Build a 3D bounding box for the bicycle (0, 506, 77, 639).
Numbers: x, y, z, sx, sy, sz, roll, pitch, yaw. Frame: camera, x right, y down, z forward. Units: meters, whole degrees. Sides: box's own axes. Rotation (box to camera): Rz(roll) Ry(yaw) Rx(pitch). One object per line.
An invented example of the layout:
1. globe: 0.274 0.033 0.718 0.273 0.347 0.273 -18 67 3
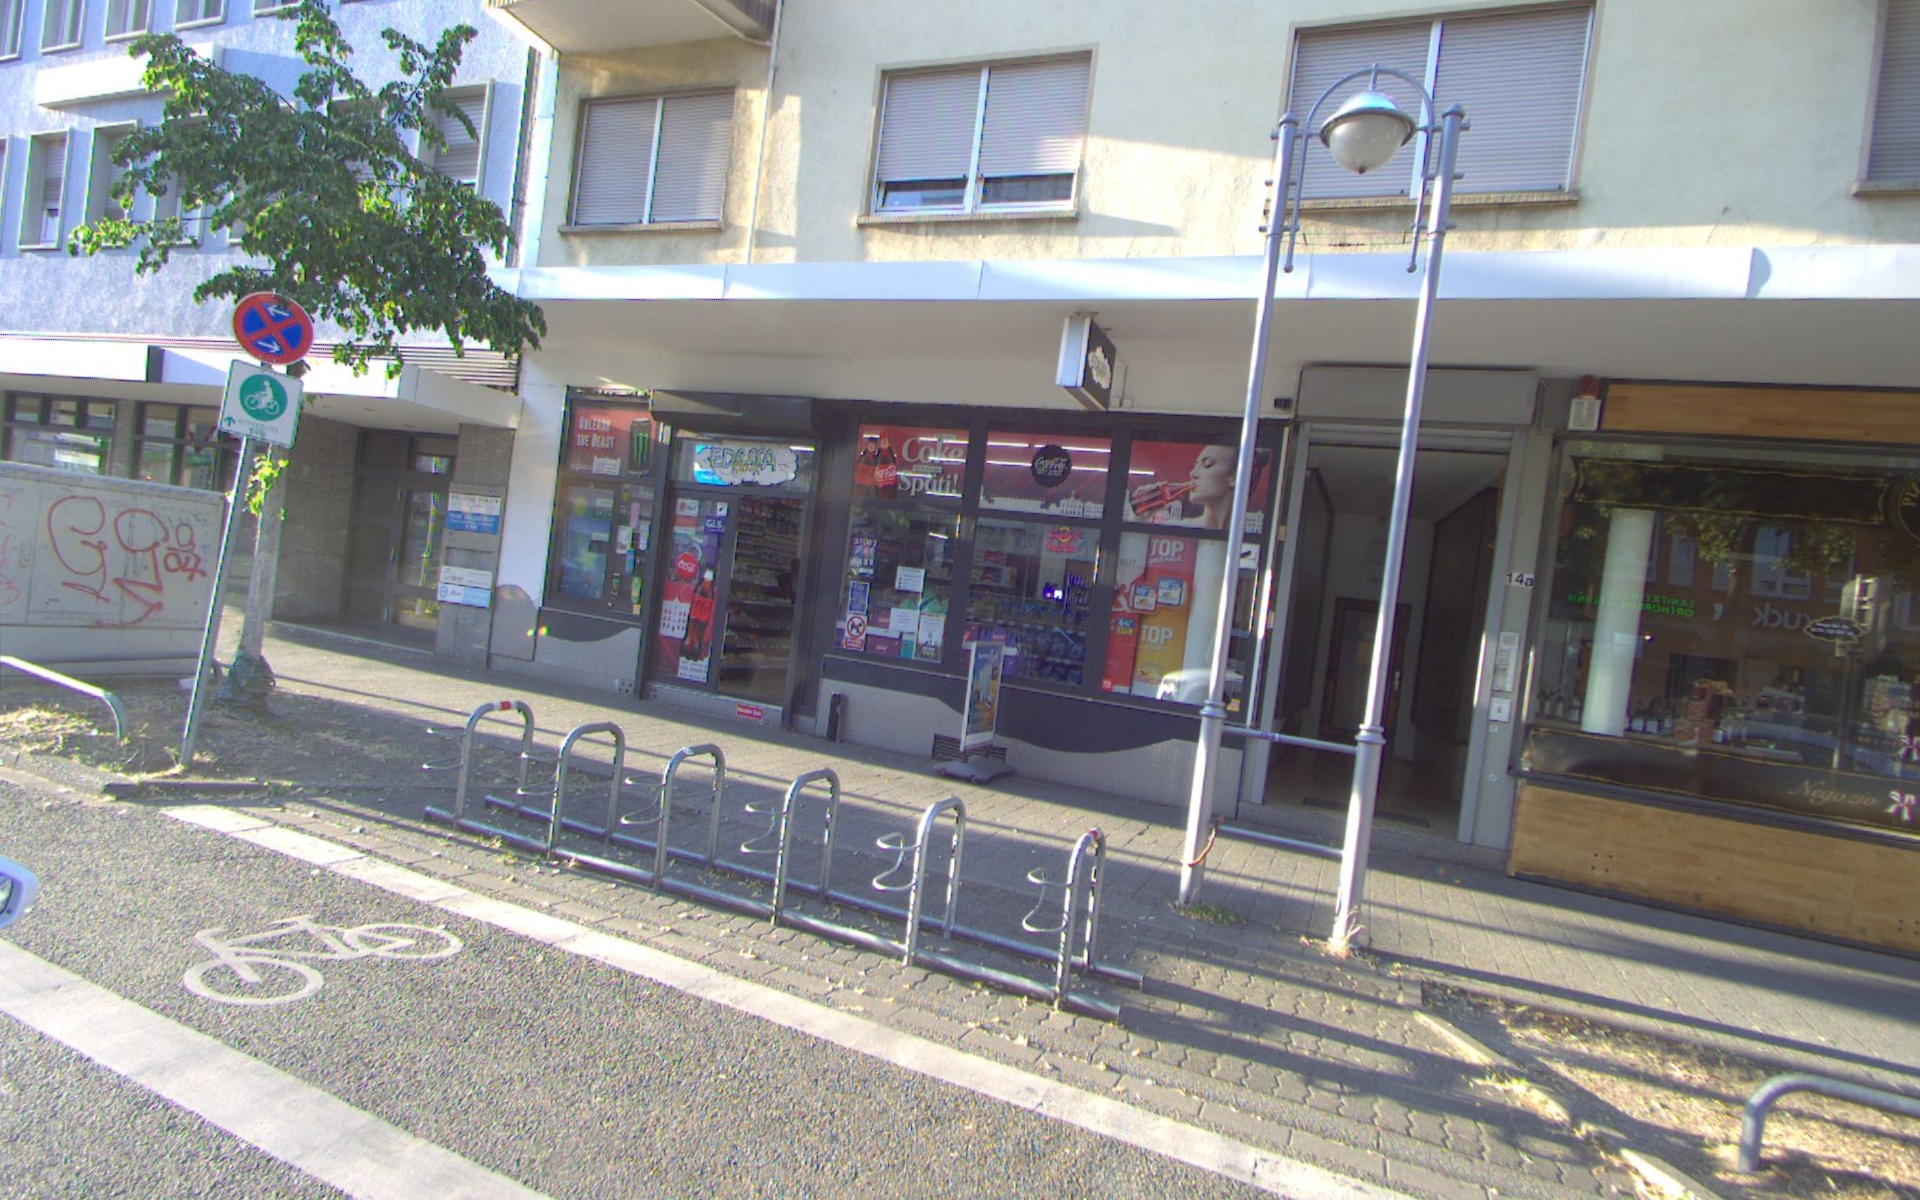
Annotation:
1. bicycle: -9.125 -0.283 9.105 0.484 1.208 1.663 8 0 11
